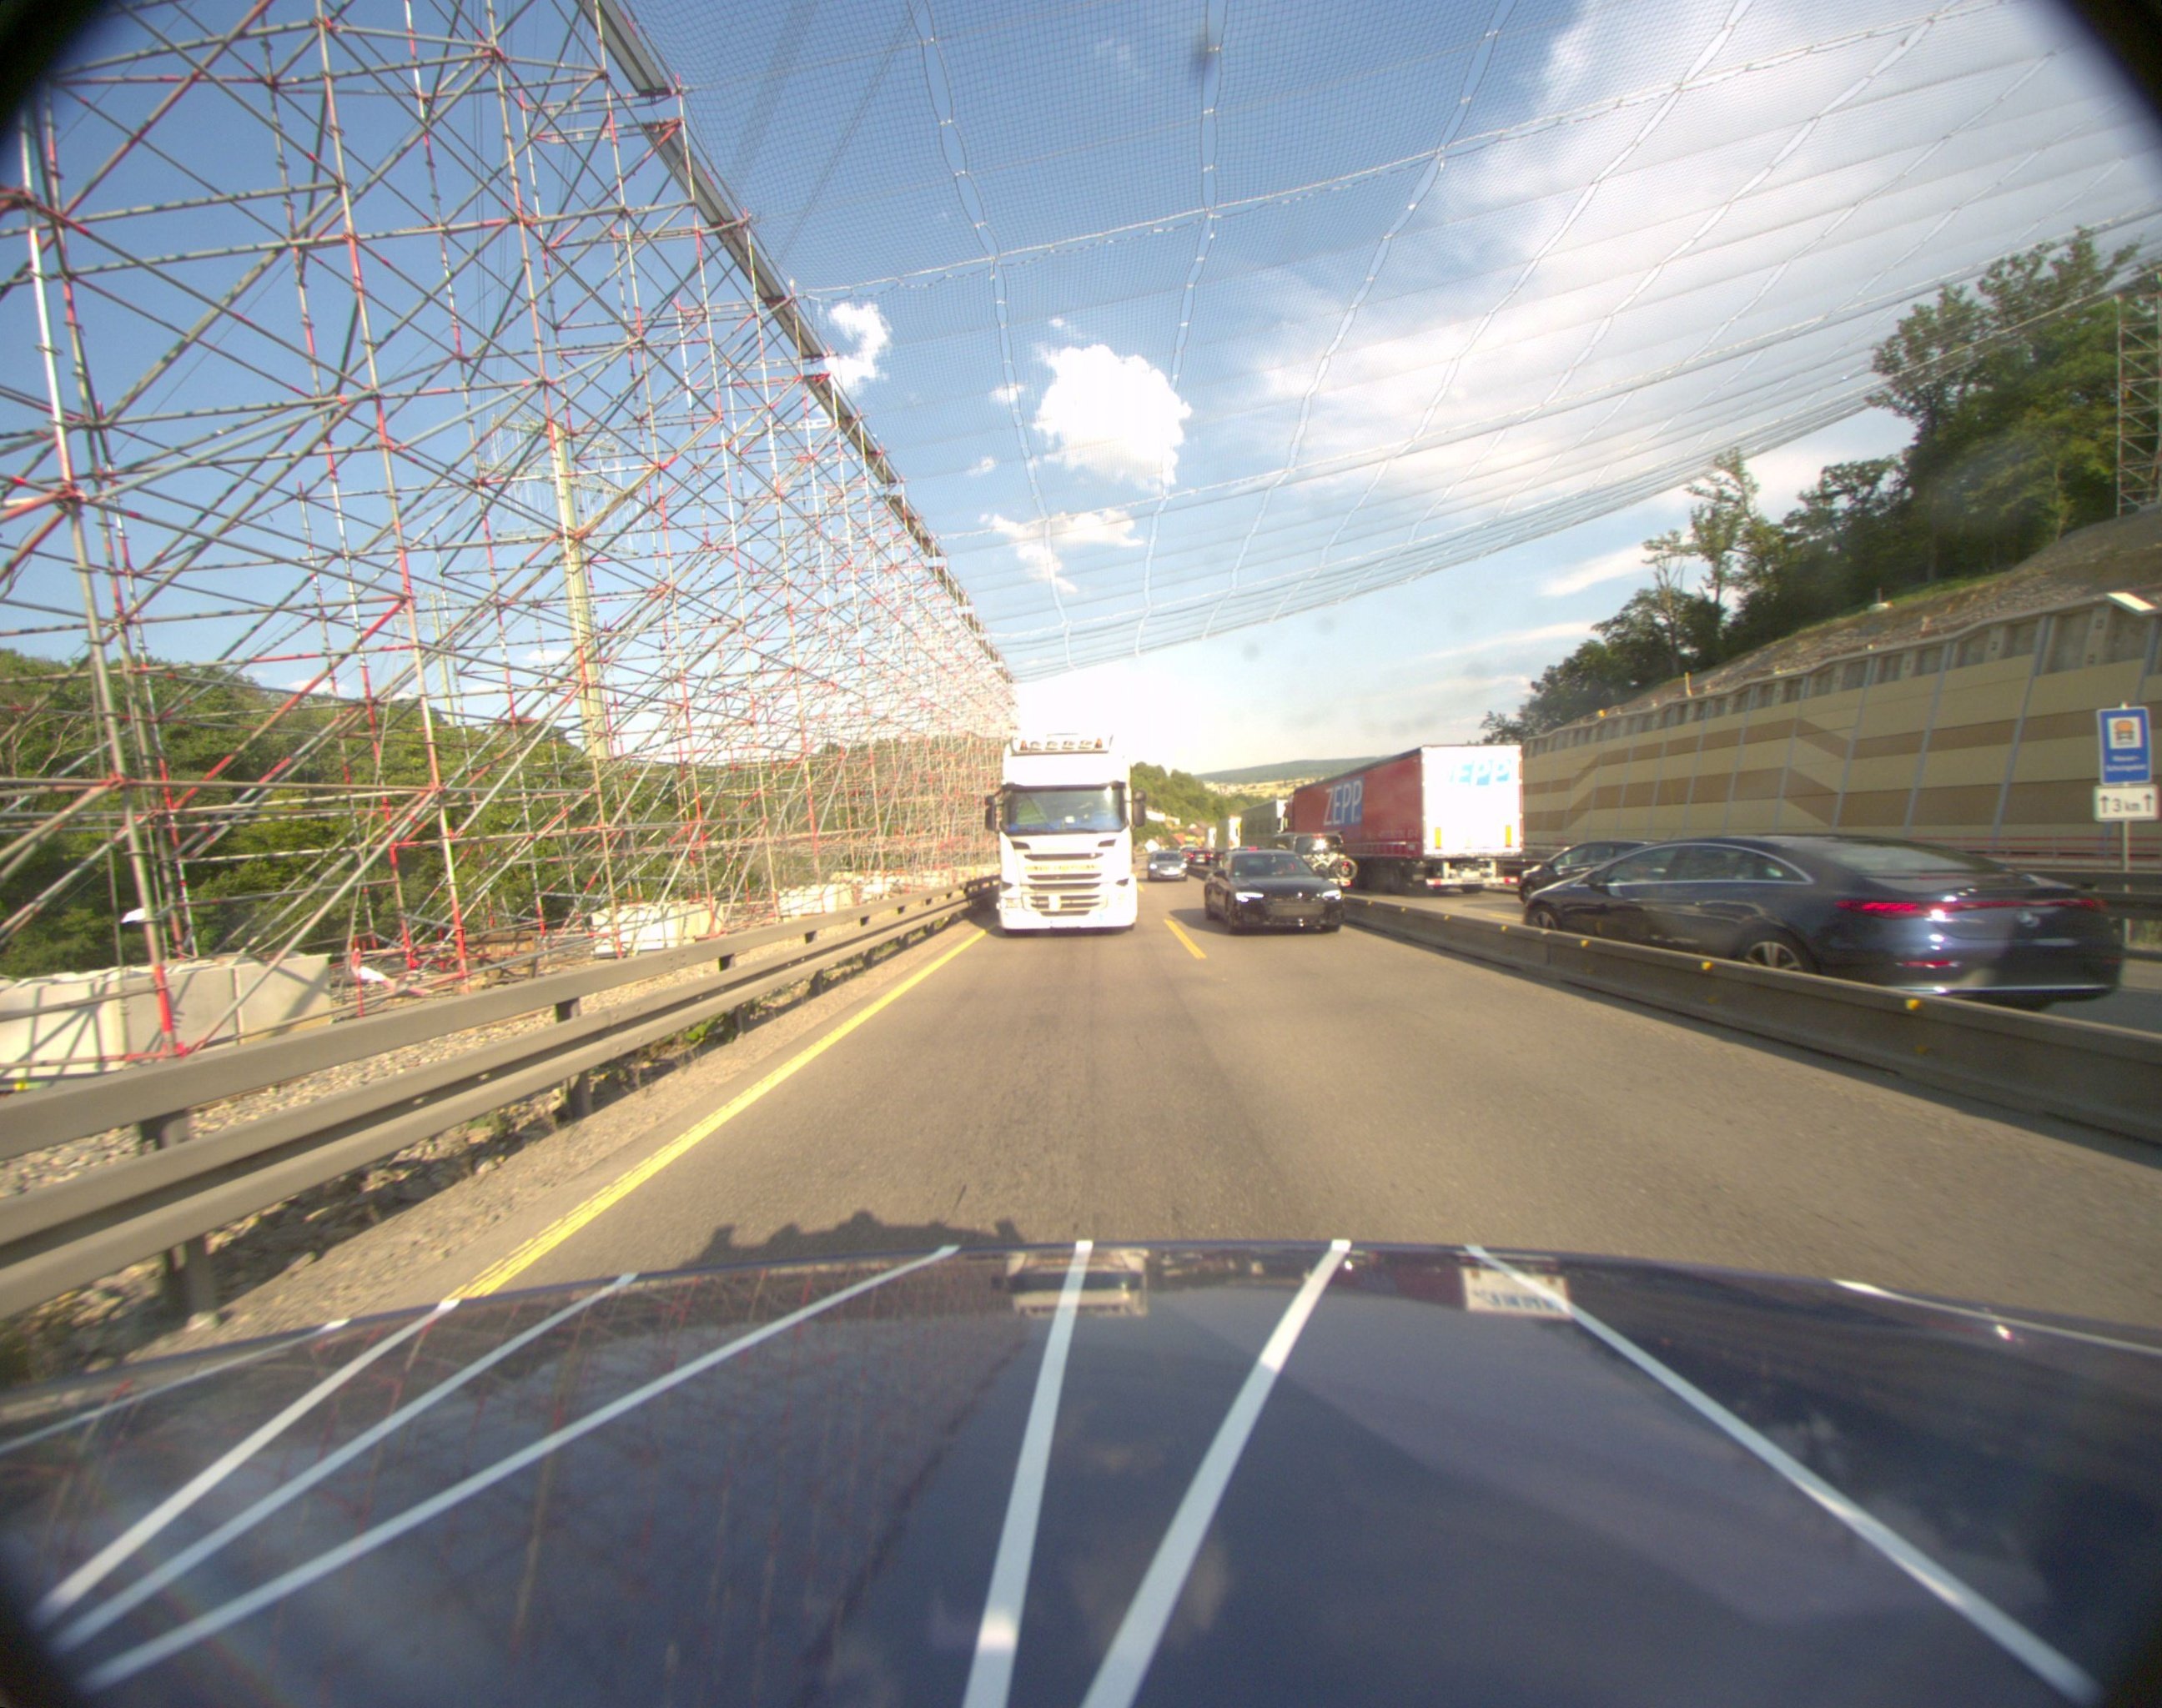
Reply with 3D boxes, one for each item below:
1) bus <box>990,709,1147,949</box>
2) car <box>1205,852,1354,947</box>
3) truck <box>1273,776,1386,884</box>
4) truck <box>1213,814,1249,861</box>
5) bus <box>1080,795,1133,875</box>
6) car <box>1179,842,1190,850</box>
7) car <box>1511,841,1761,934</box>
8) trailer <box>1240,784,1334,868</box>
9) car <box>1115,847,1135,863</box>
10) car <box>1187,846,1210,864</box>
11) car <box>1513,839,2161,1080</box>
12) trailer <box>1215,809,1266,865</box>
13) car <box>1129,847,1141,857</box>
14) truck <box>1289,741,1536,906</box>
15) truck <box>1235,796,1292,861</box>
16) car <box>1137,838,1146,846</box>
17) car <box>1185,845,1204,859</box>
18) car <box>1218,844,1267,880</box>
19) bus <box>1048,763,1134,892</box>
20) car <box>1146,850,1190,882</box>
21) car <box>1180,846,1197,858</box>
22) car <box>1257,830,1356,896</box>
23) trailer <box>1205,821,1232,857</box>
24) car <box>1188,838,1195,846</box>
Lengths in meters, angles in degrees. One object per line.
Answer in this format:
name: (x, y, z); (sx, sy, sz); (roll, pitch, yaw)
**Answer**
bus: (-0.282, -0.563, 18.658); (2.635, 4.077, 11.309); (-1, 2, -1)
car: (3.457, 0.716, 13.986); (1.866, 1.391, 4.000); (-1, 2, 3)
truck: (10.494, -0.995, 32.849); (2.794, 4.118, 6.678); (-1, 1, 1)
truck: (14.268, -1.583, 72.605); (2.751, 4.275, 5.935); (-1, 1, 6)
bus: (1.709, -1.153, 49.463); (2.984, 4.553, 10.903); (-1, 1, 2)
car: (20.361, -1.583, 149.585); (1.820, 1.570, 4.759); (1, 0, 10)
car: (10.255, 0.530, 14.498); (1.726, 1.439, 4.137); (-2, 1, 0)
trailer: (11.777, -1.543, 45.121); (2.805, 4.117, 13.968); (-1, 1, 5)
car: (4.850, 0.079, 83.070); (1.998, 1.630, 4.001); (-1, 1, 5)
car: (10.180, 0.060, 66.058); (1.654, 1.455, 4.401); (-3, 1, 5)
car: (6.396, 0.667, 7.308); (1.789, 1.494, 4.754); (-3, 0, 1)
trailer: (13.655, -1.467, 66.151); (2.772, 4.309, 13.884); (-1, 1, 6)
car: (9.044, -0.291, 126.833); (1.702, 1.535, 3.400); (-1, 1, 1)
truck: (10.333, -0.886, 26.247); (2.794, 4.118, 13.806); (-1, 1, 1)
truck: (12.302, -1.667, 51.641); (2.793, 4.118, 5.934); (-1, 1, 4)
car: (11.522, -2.256, 145.814); (1.500, 1.475, 2.914); (-1, 1, 1)
car: (12.145, -0.212, 81.449); (1.735, 1.431, 4.839); (-2, 1, 6)
car: (7.556, 0.344, 35.892); (1.746, 1.526, 4.268); (-2, 1, 5)
bus: (0.548, -0.993, 32.293); (2.984, 4.553, 9.967); (-1, 1, 2)
car: (4.099, 0.530, 36.329); (1.698, 1.390, 4.000); (-3, 0, 1)
car: (13.292, -0.234, 94.037); (1.735, 1.369, 4.892); (-3, 1, 5)
car: (7.263, 0.237, 25.024); (1.879, 1.924, 4.861); (1, 1, 1)
trailer: (17.715, -1.955, 98.607); (2.726, 4.194, 13.753); (-1, 1, 7)
car: (31.254, -3.412, 214.094); (1.820, 1.988, 4.759); (1, 0, 10)
